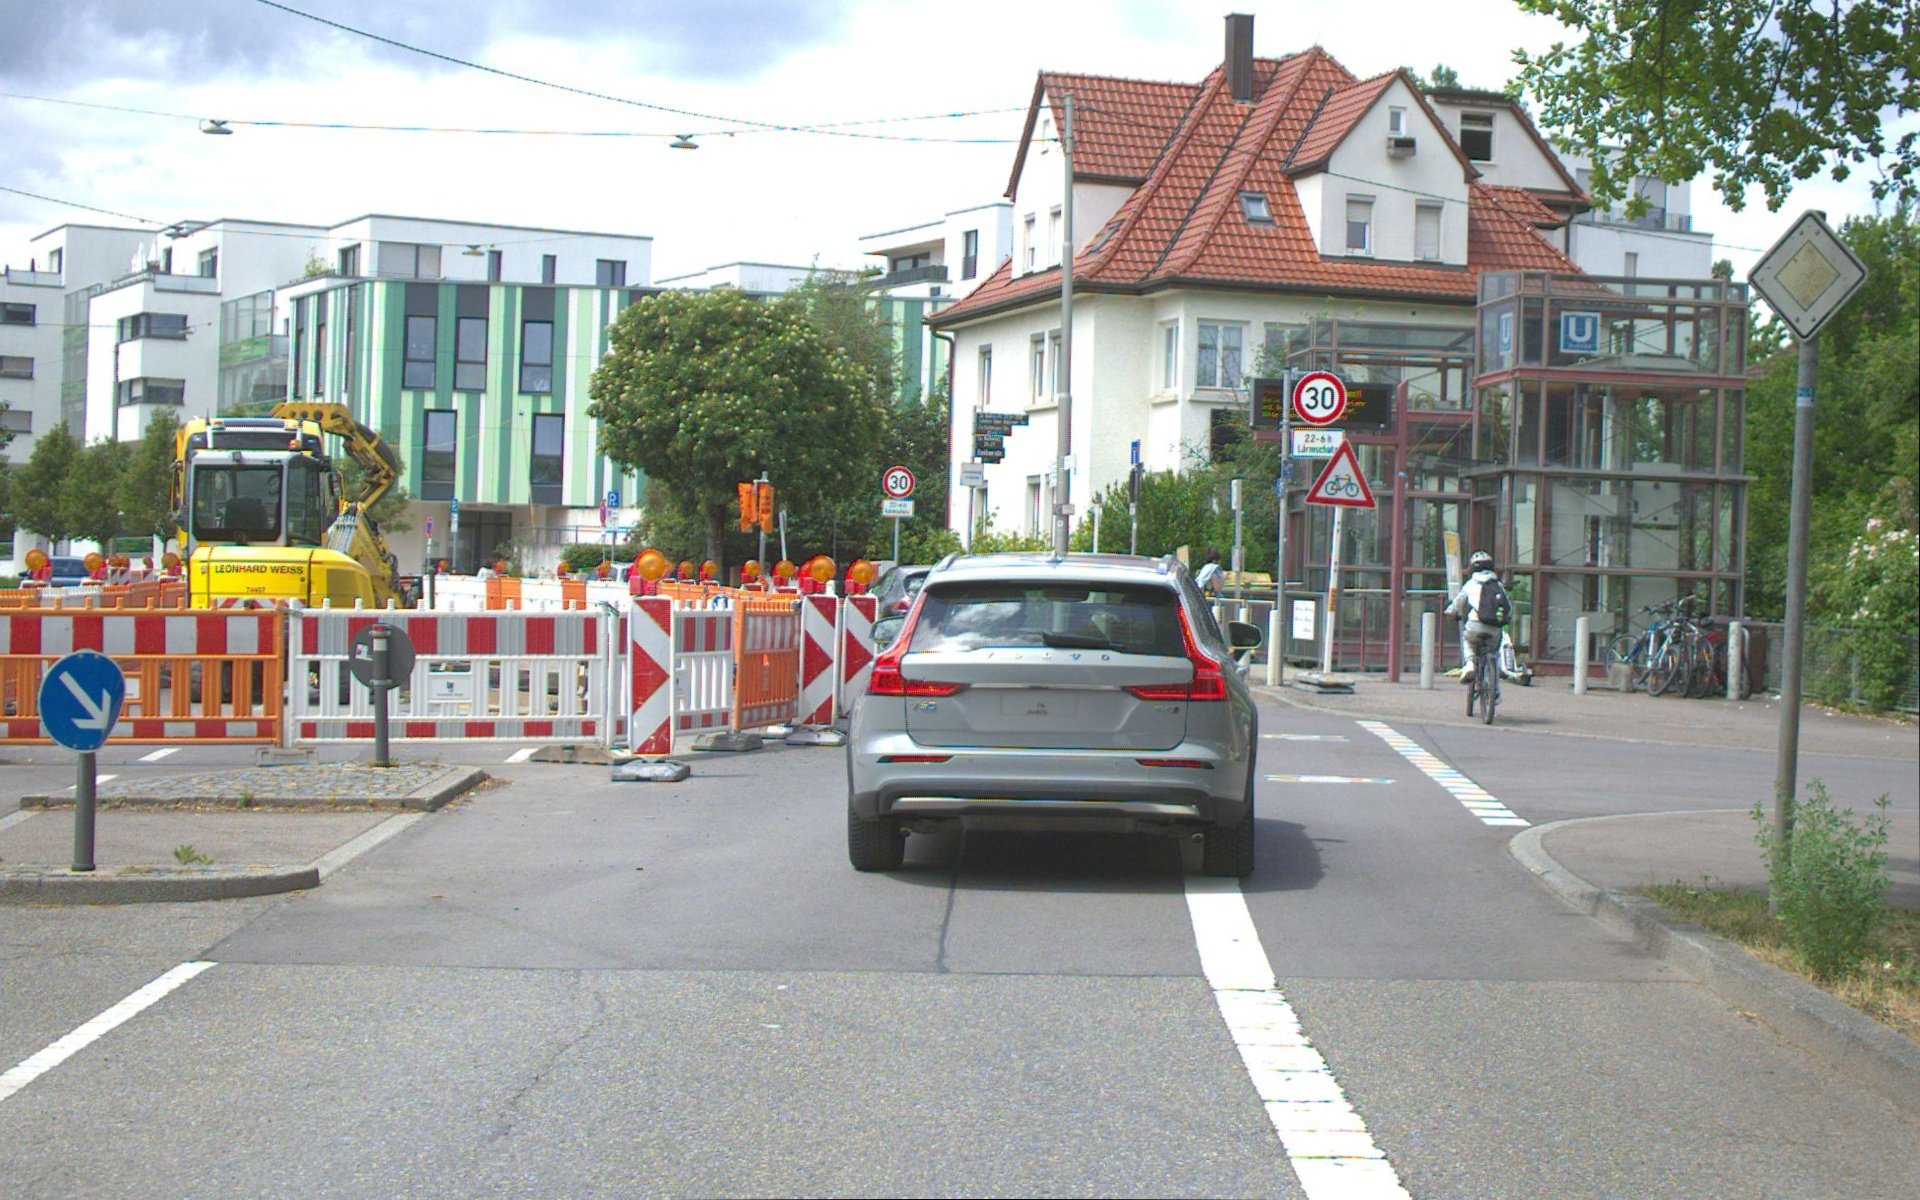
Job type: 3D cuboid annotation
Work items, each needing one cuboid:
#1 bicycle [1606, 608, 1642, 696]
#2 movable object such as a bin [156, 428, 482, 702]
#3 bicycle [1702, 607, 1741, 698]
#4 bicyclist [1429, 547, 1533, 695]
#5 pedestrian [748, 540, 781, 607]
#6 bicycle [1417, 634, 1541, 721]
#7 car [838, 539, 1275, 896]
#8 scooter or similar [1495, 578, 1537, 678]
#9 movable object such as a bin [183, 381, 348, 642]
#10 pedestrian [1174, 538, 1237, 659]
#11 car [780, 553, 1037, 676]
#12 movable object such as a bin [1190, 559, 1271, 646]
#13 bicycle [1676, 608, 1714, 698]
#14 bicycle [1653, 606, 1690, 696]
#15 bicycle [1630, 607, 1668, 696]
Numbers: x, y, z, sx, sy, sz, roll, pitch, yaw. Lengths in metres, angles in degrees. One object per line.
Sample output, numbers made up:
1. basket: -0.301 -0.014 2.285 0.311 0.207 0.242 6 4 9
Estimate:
1. bicycle: 7.650 0.592 39.617 0.215 0.985 1.204 1 0 2
2. movable object such as a bin: -6.641 -0.372 36.447 1.993 2.617 6.522 1 1 2
3. bicycle: 8.760 0.596 39.570 0.215 1.005 1.189 1 0 2
4. bicyclist: 5.120 0.194 33.871 0.656 1.411 1.179 2 1 -8
5. pedestrian: -4.528 -0.621 79.483 0.521 1.534 0.635 1 0 21
6. bicycle: 5.104 0.756 33.930 0.635 0.751 2.063 2 1 -8
7. car: 0.390 0.484 16.748 1.854 1.508 4.000 1 1 -1
8. scooter or similar: 6.567 0.328 40.630 0.215 1.108 0.947 1 4 -6
9. movable object such as a bin: -12.474 -1.499 61.440 2.590 4.207 11.124 1 1 -12
10. pedestrian: 3.337 -0.012 46.746 0.598 1.577 0.401 7 -2 -8
11. car: -0.751 0.173 46.762 1.854 1.508 4.001 3 0 -27
12. movable object such as a bin: 4.740 0.044 60.250 1.268 1.465 1.004 2 0 -1
13. bicycle: 8.463 0.597 39.588 0.215 1.005 1.189 1 0 2
14. bicycle: 8.197 0.579 39.615 0.215 1.010 1.169 1 0 2
15. bicycle: 7.931 0.582 39.600 0.215 0.997 1.207 1 0 2
